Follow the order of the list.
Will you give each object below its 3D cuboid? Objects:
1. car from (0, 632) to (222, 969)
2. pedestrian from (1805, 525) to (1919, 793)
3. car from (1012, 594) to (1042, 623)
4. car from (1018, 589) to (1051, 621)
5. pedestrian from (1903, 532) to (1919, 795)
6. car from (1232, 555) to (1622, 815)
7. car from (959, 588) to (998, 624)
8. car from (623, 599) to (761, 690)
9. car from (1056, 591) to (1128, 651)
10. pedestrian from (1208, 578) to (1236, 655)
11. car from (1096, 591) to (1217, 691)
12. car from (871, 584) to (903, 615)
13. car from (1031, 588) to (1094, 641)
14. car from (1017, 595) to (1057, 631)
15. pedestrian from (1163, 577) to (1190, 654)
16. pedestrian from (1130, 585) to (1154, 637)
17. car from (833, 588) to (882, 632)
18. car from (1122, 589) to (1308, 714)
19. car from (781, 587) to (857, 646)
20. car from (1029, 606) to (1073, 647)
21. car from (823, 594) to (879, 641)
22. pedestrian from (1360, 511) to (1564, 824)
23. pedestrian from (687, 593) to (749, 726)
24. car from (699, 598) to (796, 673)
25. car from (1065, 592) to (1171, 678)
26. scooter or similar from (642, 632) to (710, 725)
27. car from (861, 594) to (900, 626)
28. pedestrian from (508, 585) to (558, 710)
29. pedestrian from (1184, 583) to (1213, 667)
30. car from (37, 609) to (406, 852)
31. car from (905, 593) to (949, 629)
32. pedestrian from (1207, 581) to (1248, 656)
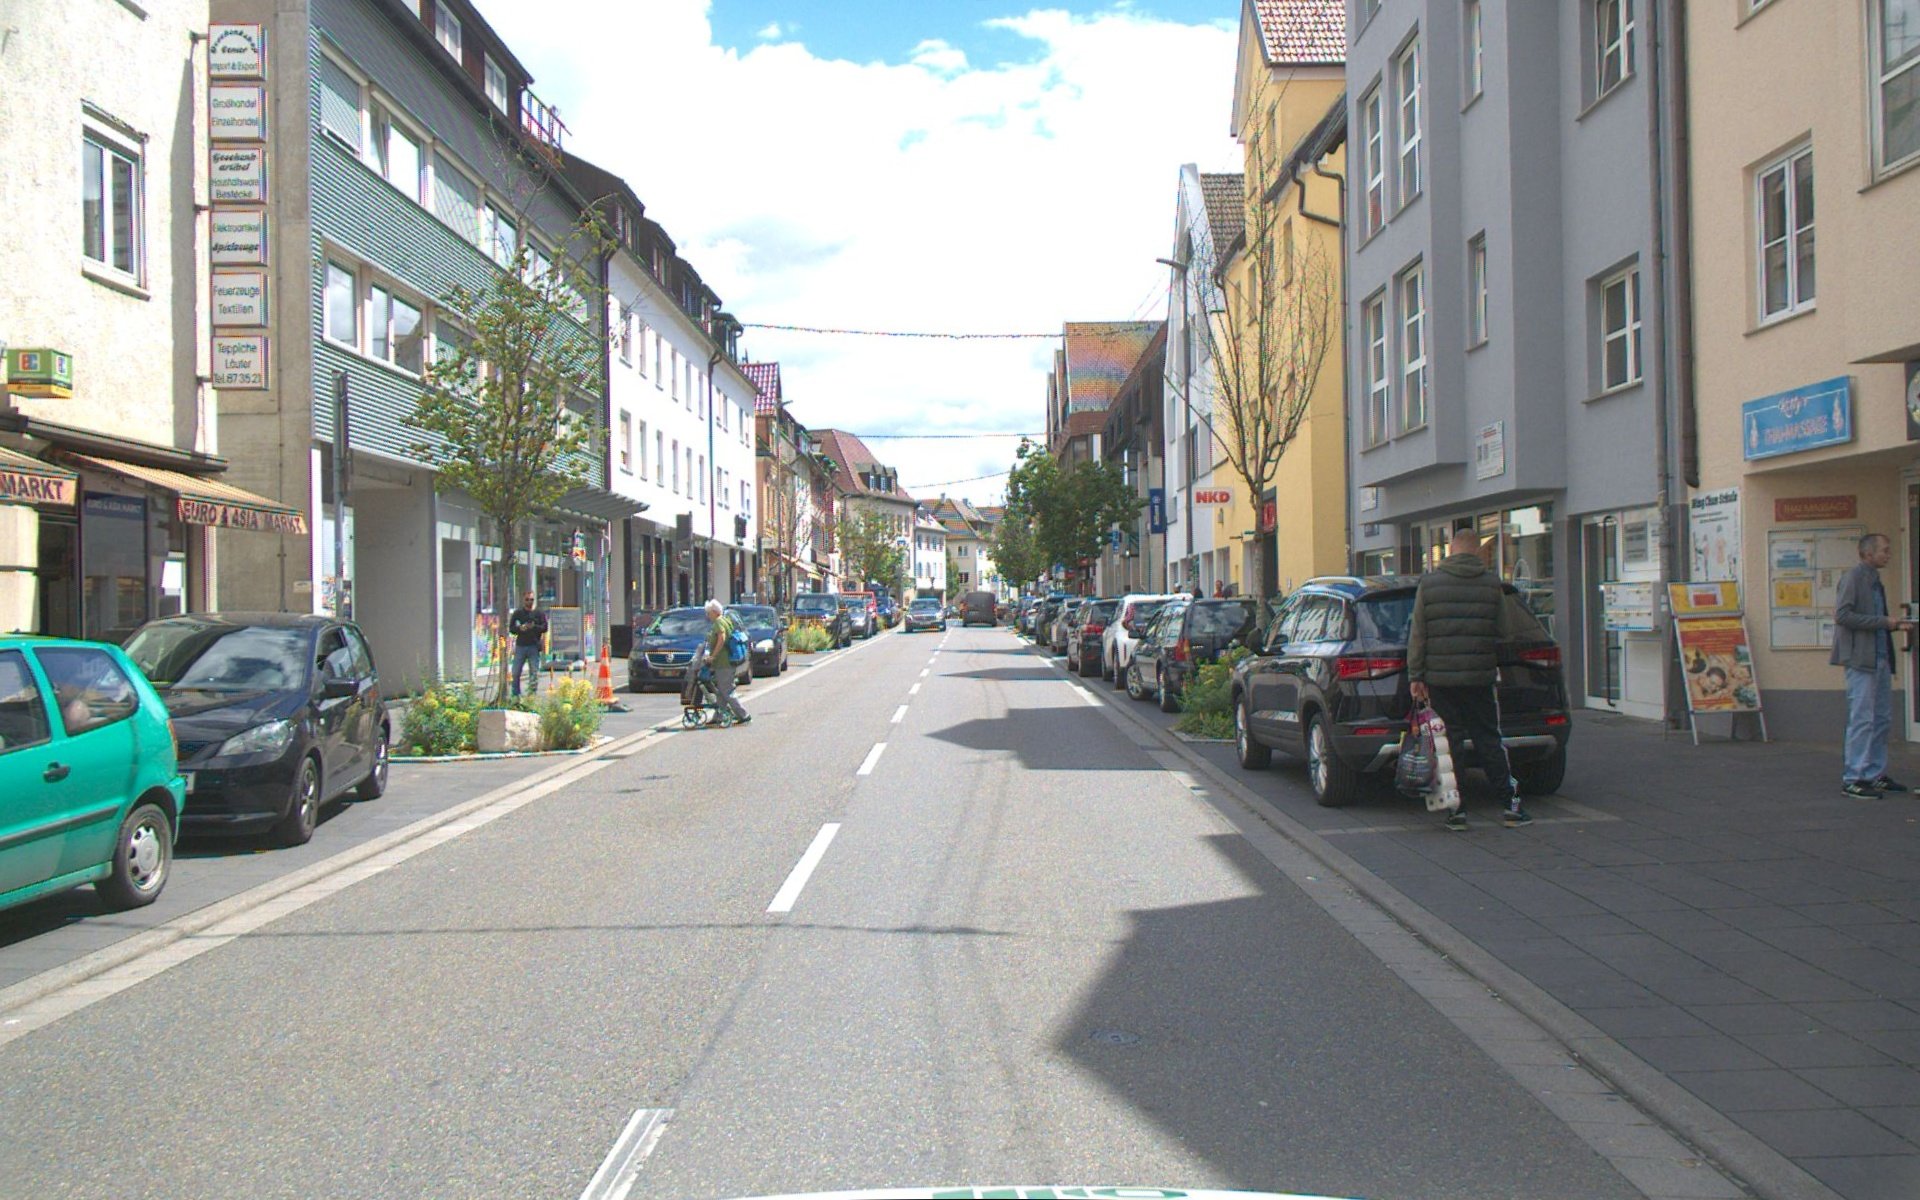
[{"bbox_3d":[-4.939,0.878,7.298,1.553,1.439,3.669,1,-1,3],"label":"car"},{"bbox_3d":[6.105,0.390,11.125,0.524,1.748,0.606,1,-1,-1],"label":"pedestrian"},{"bbox_3d":[3.864,0.482,96.012,1.576,1.521,3.796,-4,0,2],"label":"car"},{"bbox_3d":[3.765,0.246,83.917,1.576,1.559,3.796,-2,0,2],"label":"car"},{"bbox_3d":[6.610,0.423,10.947,0.427,1.748,0.537,1,-1,-2],"label":"pedestrian"},{"bbox_3d":[3.421,0.547,12.978,1.763,1.631,4.203,-2,0,-1],"label":"car"},{"bbox_3d":[0.975,0.368,89.954,1.999,1.881,4.998,1,-1,-1],"label":"car"},{"bbox_3d":[-4.840,0.759,30.465,1.753,1.539,4.712,0,0,0],"label":"car"},{"bbox_3d":[3.448,0.555,43.910,1.685,1.502,4.355,1,-1,2],"label":"car"},{"bbox_3d":[6.380,0.404,40.251,0.575,1.873,0.576,1,-1,1],"label":"pedestrian"},{"bbox_3d":[3.351,0.683,28.708,1.654,1.601,3.756,1,-1,0],"label":"car"},{"bbox_3d":[-4.101,-0.022,92.740,1.763,1.632,4.349,-1,0,-3],"label":"car"},{"bbox_3d":[3.249,0.482,53.069,1.686,1.604,4.108,1,-1,-1],"label":"car"},{"bbox_3d":[3.406,0.600,73.324,1.685,1.520,4.110,1,-1,2],"label":"car"},{"bbox_3d":[5.270,0.378,40.250,0.575,1.873,0.576,1,-1,1],"label":"pedestrian"},{"bbox_3d":[6.304,0.390,57.316,0.726,1.768,0.757,1,-1,1],"label":"pedestrian"},{"bbox_3d":[-4.578,0.464,74.517,1.778,1.922,4.841,1,-1,1],"label":"car"},{"bbox_3d":[3.412,0.668,22.914,1.656,1.465,4.293,-3,-1,-3],"label":"car"},{"bbox_3d":[-4.498,0.531,53.392,1.778,1.786,4.670,1,-1,3],"label":"car"},{"bbox_3d":[3.693,1.072,67.712,1.685,1.604,4.429,1,-1,2],"label":"car"},{"bbox_3d":[-4.340,0.694,66.368,1.778,1.786,4.464,1,-1,2],"label":"car"},{"bbox_3d":[3.211,0.420,10.670,0.955,1.896,0.864,-2,-1,-1],"label":"pedestrian"},{"bbox_3d":[-3.063,0.746,20.987,0.717,1.646,0.651,1,-1,-4],"label":"pedestrian"},{"bbox_3d":[-4.630,0.746,36.513,1.754,1.529,4.176,1,0,-3],"label":"car"},{"bbox_3d":[3.091,0.652,33.181,1.654,1.497,4.524,1,1,0],"label":"car"},{"bbox_3d":[-3.592,0.988,20.955,0.766,1.145,0.629,1,-1,-4],"label":"scooter or similar"},{"bbox_3d":[-4.147,0.507,86.904,1.762,1.626,4.389,0,0,1],"label":"car"},{"bbox_3d":[-6.213,0.684,24.075,0.537,1.788,0.728,1,-1,-3],"label":"pedestrian"},{"bbox_3d":[5.412,0.565,37.573,0.575,1.873,0.576,1,-1,1],"label":"pedestrian"},{"bbox_3d":[-5.098,0.817,11.893,1.568,1.471,3.548,1,-1,-10],"label":"car"},{"bbox_3d":[-1.503,0.531,77.130,1.866,1.591,4.646,1,-1,1],"label":"car"},{"bbox_3d":[5.785,0.406,35.770,0.734,1.580,0.726,-1,-1,0],"label":"pedestrian"}]
